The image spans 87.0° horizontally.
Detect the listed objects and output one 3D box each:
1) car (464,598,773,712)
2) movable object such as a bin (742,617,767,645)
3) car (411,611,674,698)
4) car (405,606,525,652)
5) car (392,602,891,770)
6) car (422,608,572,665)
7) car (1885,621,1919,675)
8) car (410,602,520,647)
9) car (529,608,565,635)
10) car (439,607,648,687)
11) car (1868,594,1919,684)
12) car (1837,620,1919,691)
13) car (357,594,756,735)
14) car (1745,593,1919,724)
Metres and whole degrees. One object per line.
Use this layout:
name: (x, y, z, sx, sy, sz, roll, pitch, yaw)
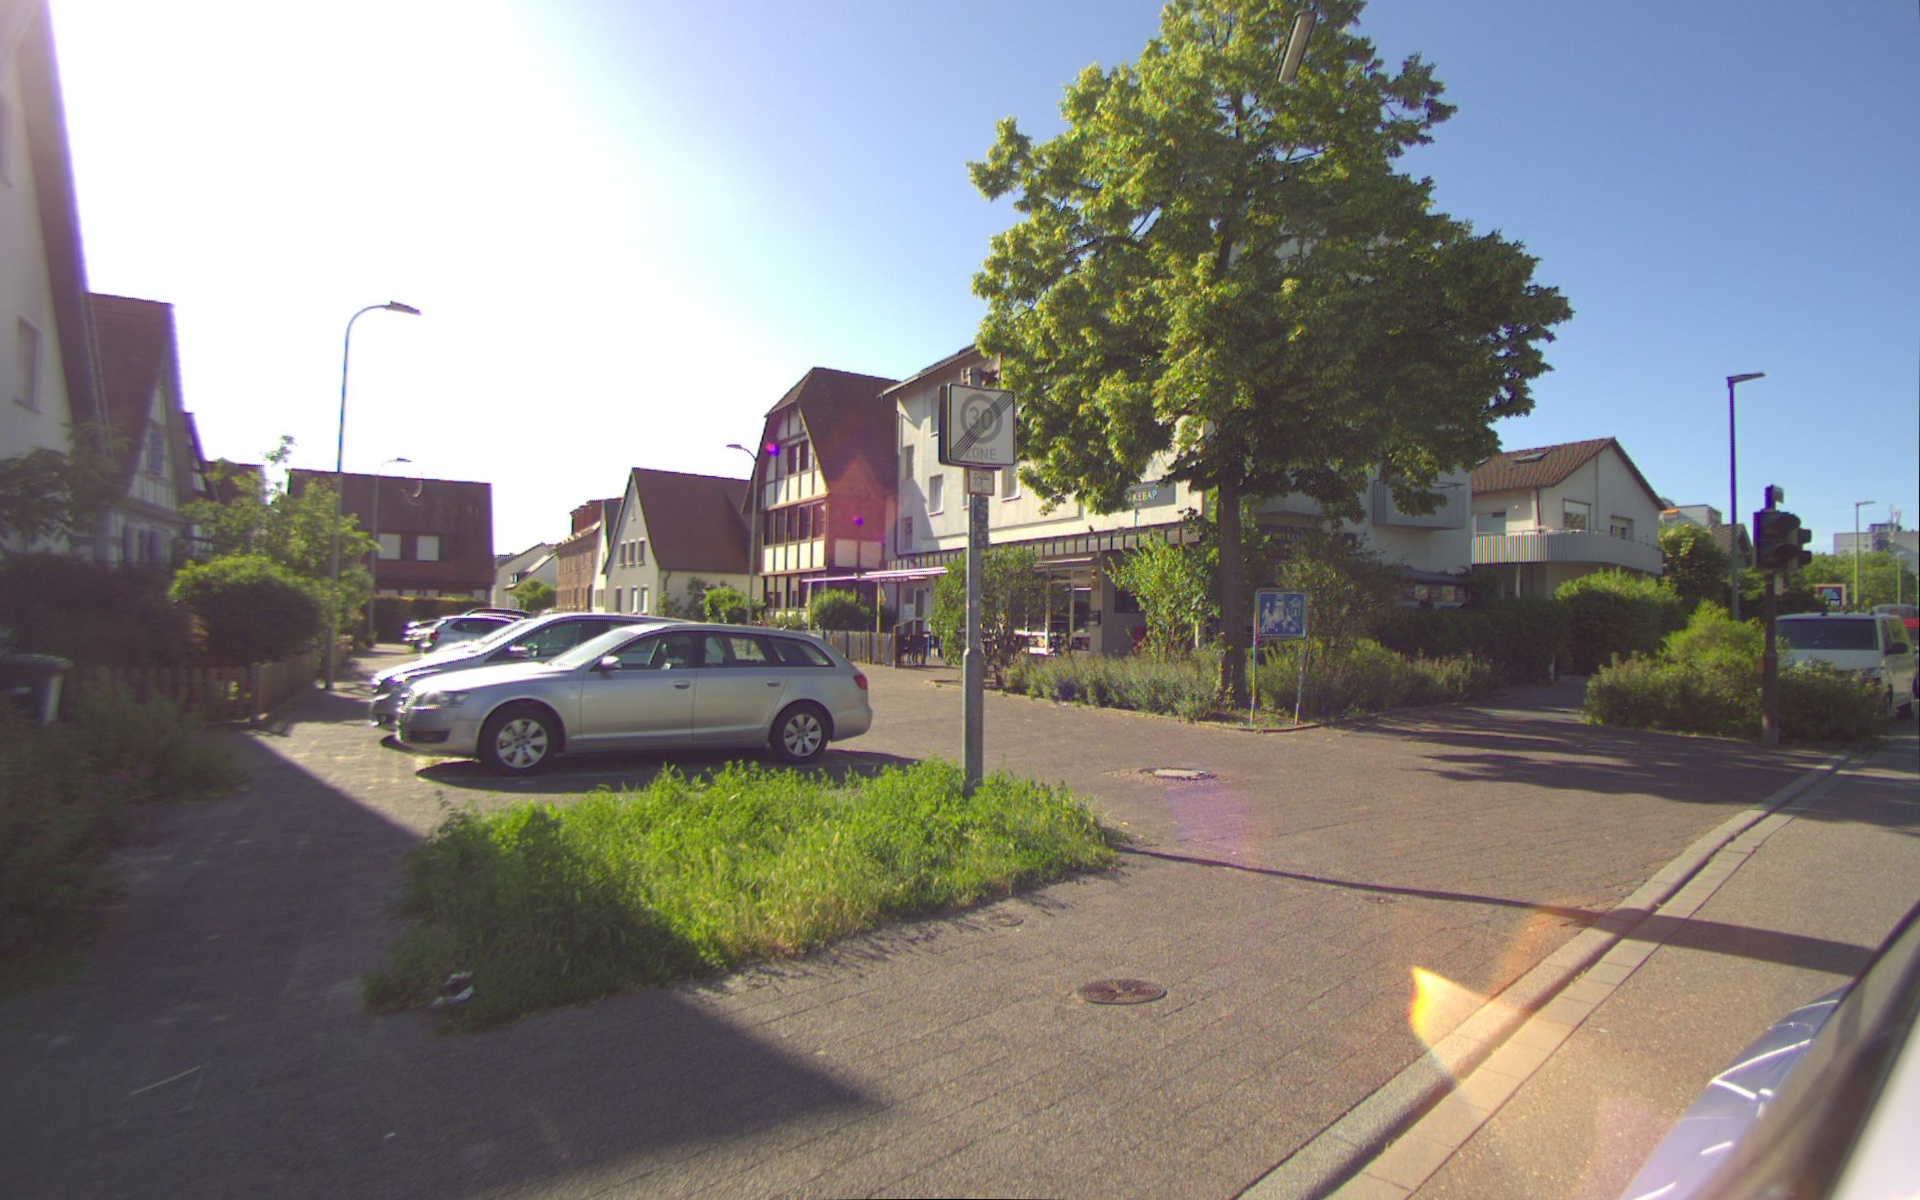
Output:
car: (-5.254, 0.848, 15.721, 4.311, 1.572, 1.716, 2, -2, -25)
movable object such as a bin: (-7.568, 1.131, 37.260, 0.644, 1.005, 0.708, -2, 0, -34)
car: (-7.200, 0.966, 17.600, 4.028, 1.367, 1.652, 2, -4, -27)
car: (-16.960, 1.023, 34.700, 3.547, 1.472, 1.461, 2, -3, -31)
car: (-3.291, 0.843, 10.805, 4.707, 1.440, 2.000, 2, -3, -32)
car: (-12.647, 1.002, 27.698, 3.547, 1.438, 1.461, 2, -1, -31)
car: (35.351, 1.719, 37.040, 4.484, 1.872, 1.857, 1, -4, -44)
car: (-19.132, 0.953, 39.151, 3.632, 1.646, 1.415, 2, -1, -33)
car: (-28.604, 1.480, 69.990, 1.958, 1.738, 4.809, 3, -2, -26)
car: (-8.366, 0.949, 20.391, 3.730, 1.493, 1.604, 2, -2, -27)
car: (30.255, 1.195, 32.090, 1.956, 2.679, 5.140, -3, -3, 43)
car: (25.285, 1.443, 27.383, 4.501, 1.760, 1.958, 1, -3, -45)
car: (-4.917, 0.787, 12.671, 4.311, 1.537, 1.716, 2, -2, -25)
car: (16.256, 0.970, 18.540, 4.496, 2.106, 1.997, 0, -2, -40)
